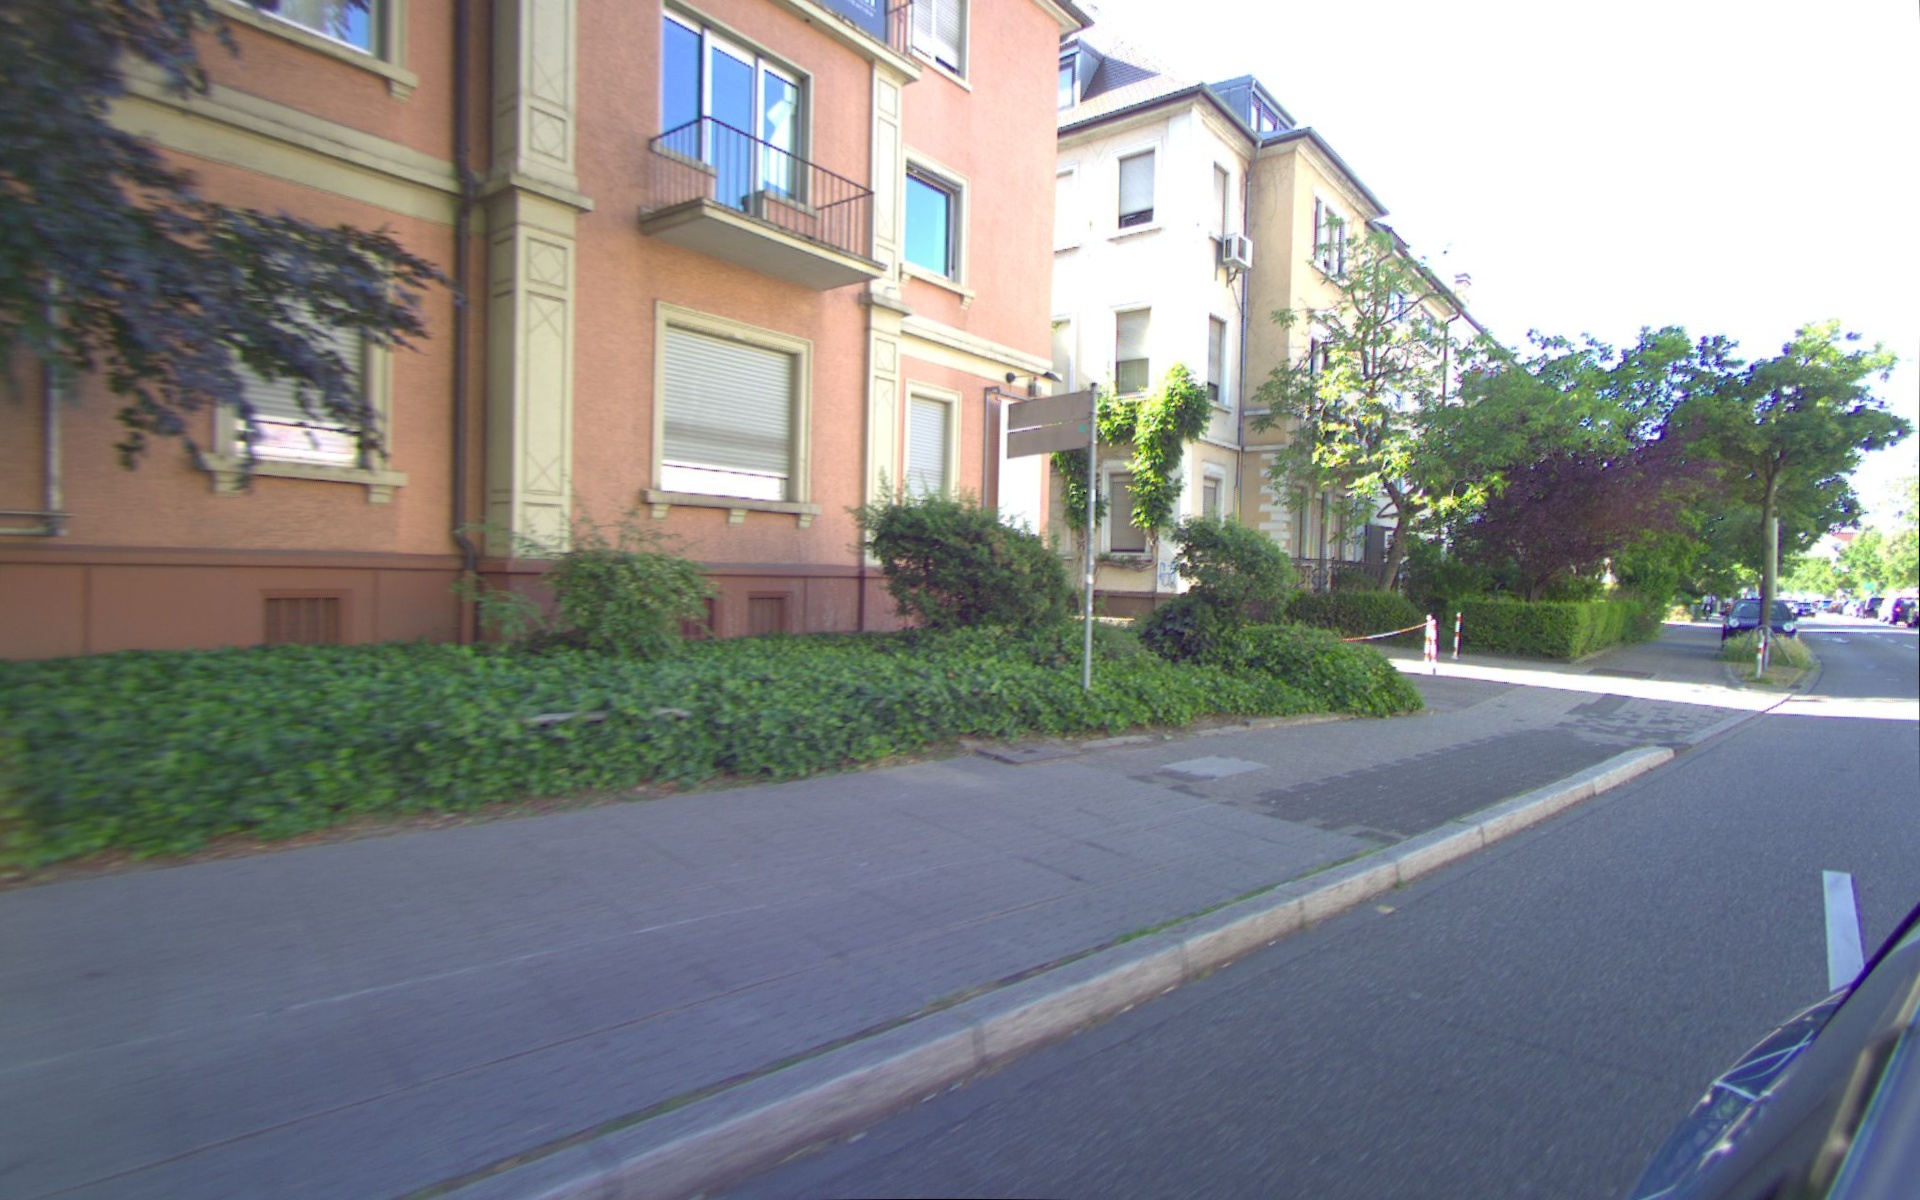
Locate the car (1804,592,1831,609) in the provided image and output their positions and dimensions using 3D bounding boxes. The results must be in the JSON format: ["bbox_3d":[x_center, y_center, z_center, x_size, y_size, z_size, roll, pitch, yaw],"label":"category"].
[{"bbox_3d":[74.699,0.035,88.233,1.648,1.372,4.243,3,2,39],"label":"car"}]

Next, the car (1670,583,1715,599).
[{"bbox_3d":[84.955,-1.093,117.409,3.984,1.458,1.805,7,5,39],"label":"car"}]

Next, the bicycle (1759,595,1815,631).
[{"bbox_3d":[30.765,0.476,37.650,1.636,1.252,0.471,1,1,1],"label":"bicycle"}]

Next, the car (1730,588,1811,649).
[{"bbox_3d":[22.842,0.468,28.624,1.556,1.533,3.606,5,3,37],"label":"car"}]

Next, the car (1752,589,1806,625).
[{"bbox_3d":[37.326,0.292,46.208,1.710,1.507,4.177,3,2,37],"label":"car"}]

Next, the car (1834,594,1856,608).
[{"bbox_3d":[102.671,0.082,117.407,1.577,1.469,3.696,3,2,36],"label":"car"}]

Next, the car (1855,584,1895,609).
[{"bbox_3d":[79.005,-0.319,87.422,2.013,1.975,5.108,5,3,38],"label":"car"}]

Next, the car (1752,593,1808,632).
[{"bbox_3d":[32.788,0.470,40.474,1.610,1.400,3.919,3,2,39],"label":"car"}]

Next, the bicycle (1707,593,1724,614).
[{"bbox_3d":[45.695,0.197,61.178,0.697,1.262,1.796,4,3,39],"label":"bicycle"}]

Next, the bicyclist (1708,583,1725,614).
[{"bbox_3d":[45.677,-0.100,61.097,0.723,1.815,1.001,4,2,39],"label":"bicyclist"}]

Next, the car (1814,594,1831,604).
[{"bbox_3d":[131.453,-0.154,154.257,1.577,1.469,3.696,3,2,36],"label":"car"}]

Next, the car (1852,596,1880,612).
[{"bbox_3d":[91.638,0.360,102.368,1.731,1.429,4.133,5,4,38],"label":"car"}]

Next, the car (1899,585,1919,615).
[{"bbox_3d":[65.596,0.018,68.993,1.801,1.934,4.646,5,4,38],"label":"car"}]

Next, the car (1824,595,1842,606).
[{"bbox_3d":[121.174,0.013,140.541,1.577,1.469,3.696,3,2,36],"label":"car"}]

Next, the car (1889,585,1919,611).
[{"bbox_3d":[71.701,-0.160,76.447,1.813,1.764,4.431,5,4,38],"label":"car"}]
